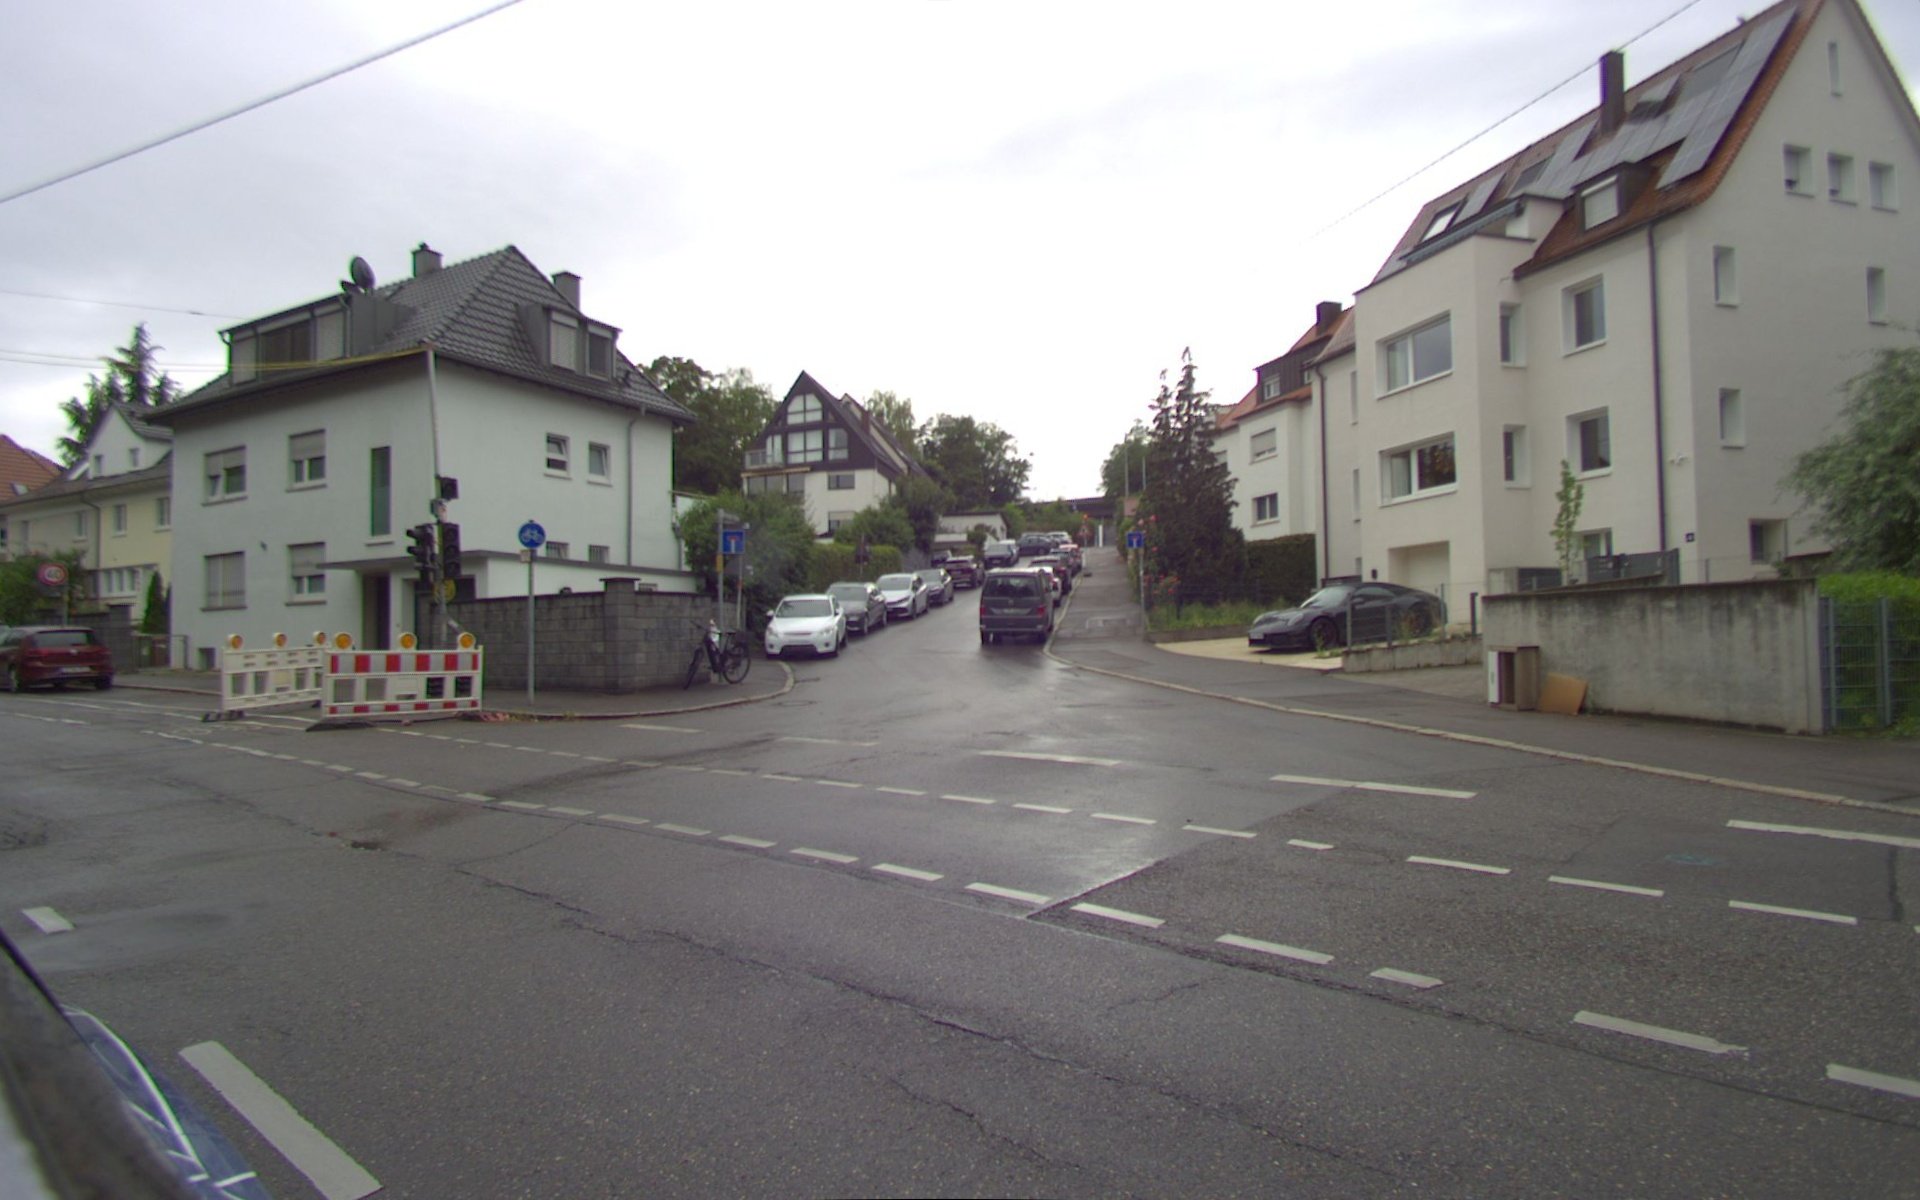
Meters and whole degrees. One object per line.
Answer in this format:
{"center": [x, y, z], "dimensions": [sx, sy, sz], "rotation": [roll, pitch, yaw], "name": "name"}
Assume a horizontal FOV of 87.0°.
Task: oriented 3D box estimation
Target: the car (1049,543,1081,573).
{"center": [6.537, -2.641, 62.681], "dimensions": [1.847, 1.758, 3.992], "rotation": [0, 3, 8], "name": "car"}

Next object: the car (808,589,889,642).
{"center": [-3.385, 0.425, 31.521], "dimensions": [1.867, 1.477, 3.996], "rotation": [0, 1, 4], "name": "car"}

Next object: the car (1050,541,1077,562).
{"center": [10.661, -4.974, 104.054], "dimensions": [1.984, 2.029, 3.977], "rotation": [0, 1, 18], "name": "car"}

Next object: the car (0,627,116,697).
{"center": [-21.226, 1.393, 23.158], "dimensions": [4.213, 1.451, 1.605], "rotation": [-2, -2, 30], "name": "car"}

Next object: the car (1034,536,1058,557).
{"center": [7.557, -4.672, 88.704], "dimensions": [1.869, 1.733, 3.991], "rotation": [0, 1, 8], "name": "car"}

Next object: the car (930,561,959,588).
{"center": [-1.089, -1.741, 69.236], "dimensions": [1.864, 1.733, 4.003], "rotation": [0, 1, -2], "name": "car"}

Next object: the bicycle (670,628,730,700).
{"center": [-4.527, 1.094, 17.694], "dimensions": [0.458, 1.132, 1.515], "rotation": [0, 1, 8], "name": "bicycle"}

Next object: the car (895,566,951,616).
{"center": [-1.488, -0.416, 42.501], "dimensions": [1.867, 2.007, 3.994], "rotation": [0, 1, 5], "name": "car"}

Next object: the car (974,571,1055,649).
{"center": [1.621, 0.211, 28.799], "dimensions": [1.977, 1.933, 3.992], "rotation": [0, 3, 8], "name": "car"}

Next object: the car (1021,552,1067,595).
{"center": [3.798, -1.213, 45.114], "dimensions": [1.847, 1.758, 3.992], "rotation": [0, 3, 8], "name": "car"}

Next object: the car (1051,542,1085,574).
{"center": [6.225, -2.465, 58.201], "dimensions": [1.847, 1.758, 3.992], "rotation": [0, 3, 8], "name": "car"}

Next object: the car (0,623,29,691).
{"center": [-25.850, 1.452, 25.629], "dimensions": [4.378, 1.671, 1.745], "rotation": [-2, -4, 24], "name": "car"}

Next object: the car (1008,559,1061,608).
{"center": [2.996, -0.692, 39.833], "dimensions": [1.847, 1.758, 3.992], "rotation": [0, 3, 8], "name": "car"}

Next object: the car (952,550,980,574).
{"center": [0.407, -2.754, 73.923], "dimensions": [1.864, 1.733, 4.003], "rotation": [0, 1, -2], "name": "car"}

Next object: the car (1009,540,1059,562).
{"center": [6.111, -4.026, 83.474], "dimensions": [3.956, 1.733, 1.886], "rotation": [0, 1, 10], "name": "car"}

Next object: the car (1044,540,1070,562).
{"center": [9.443, -4.749, 98.283], "dimensions": [1.981, 2.029, 3.983], "rotation": [0, 1, 14], "name": "car"}

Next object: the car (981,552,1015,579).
{"center": [2.563, -2.273, 67.728], "dimensions": [1.869, 1.733, 3.991], "rotation": [0, 1, 8], "name": "car"}

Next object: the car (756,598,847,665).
{"center": [-3.935, 0.728, 25.743], "dimensions": [1.864, 1.477, 4.003], "rotation": [0, 1, -2], "name": "car"}

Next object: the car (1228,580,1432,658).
{"center": [7.868, 0.377, 21.607], "dimensions": [3.754, 1.519, 1.740], "rotation": [-1, -1, -16], "name": "car"}

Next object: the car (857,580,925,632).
{"center": [-2.430, 0.172, 36.644], "dimensions": [1.867, 1.733, 3.994], "rotation": [0, 1, 5], "name": "car"}

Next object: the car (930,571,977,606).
{"center": [-0.277, -0.624, 51.827], "dimensions": [1.869, 1.733, 3.991], "rotation": [0, 1, 8], "name": "car"}
